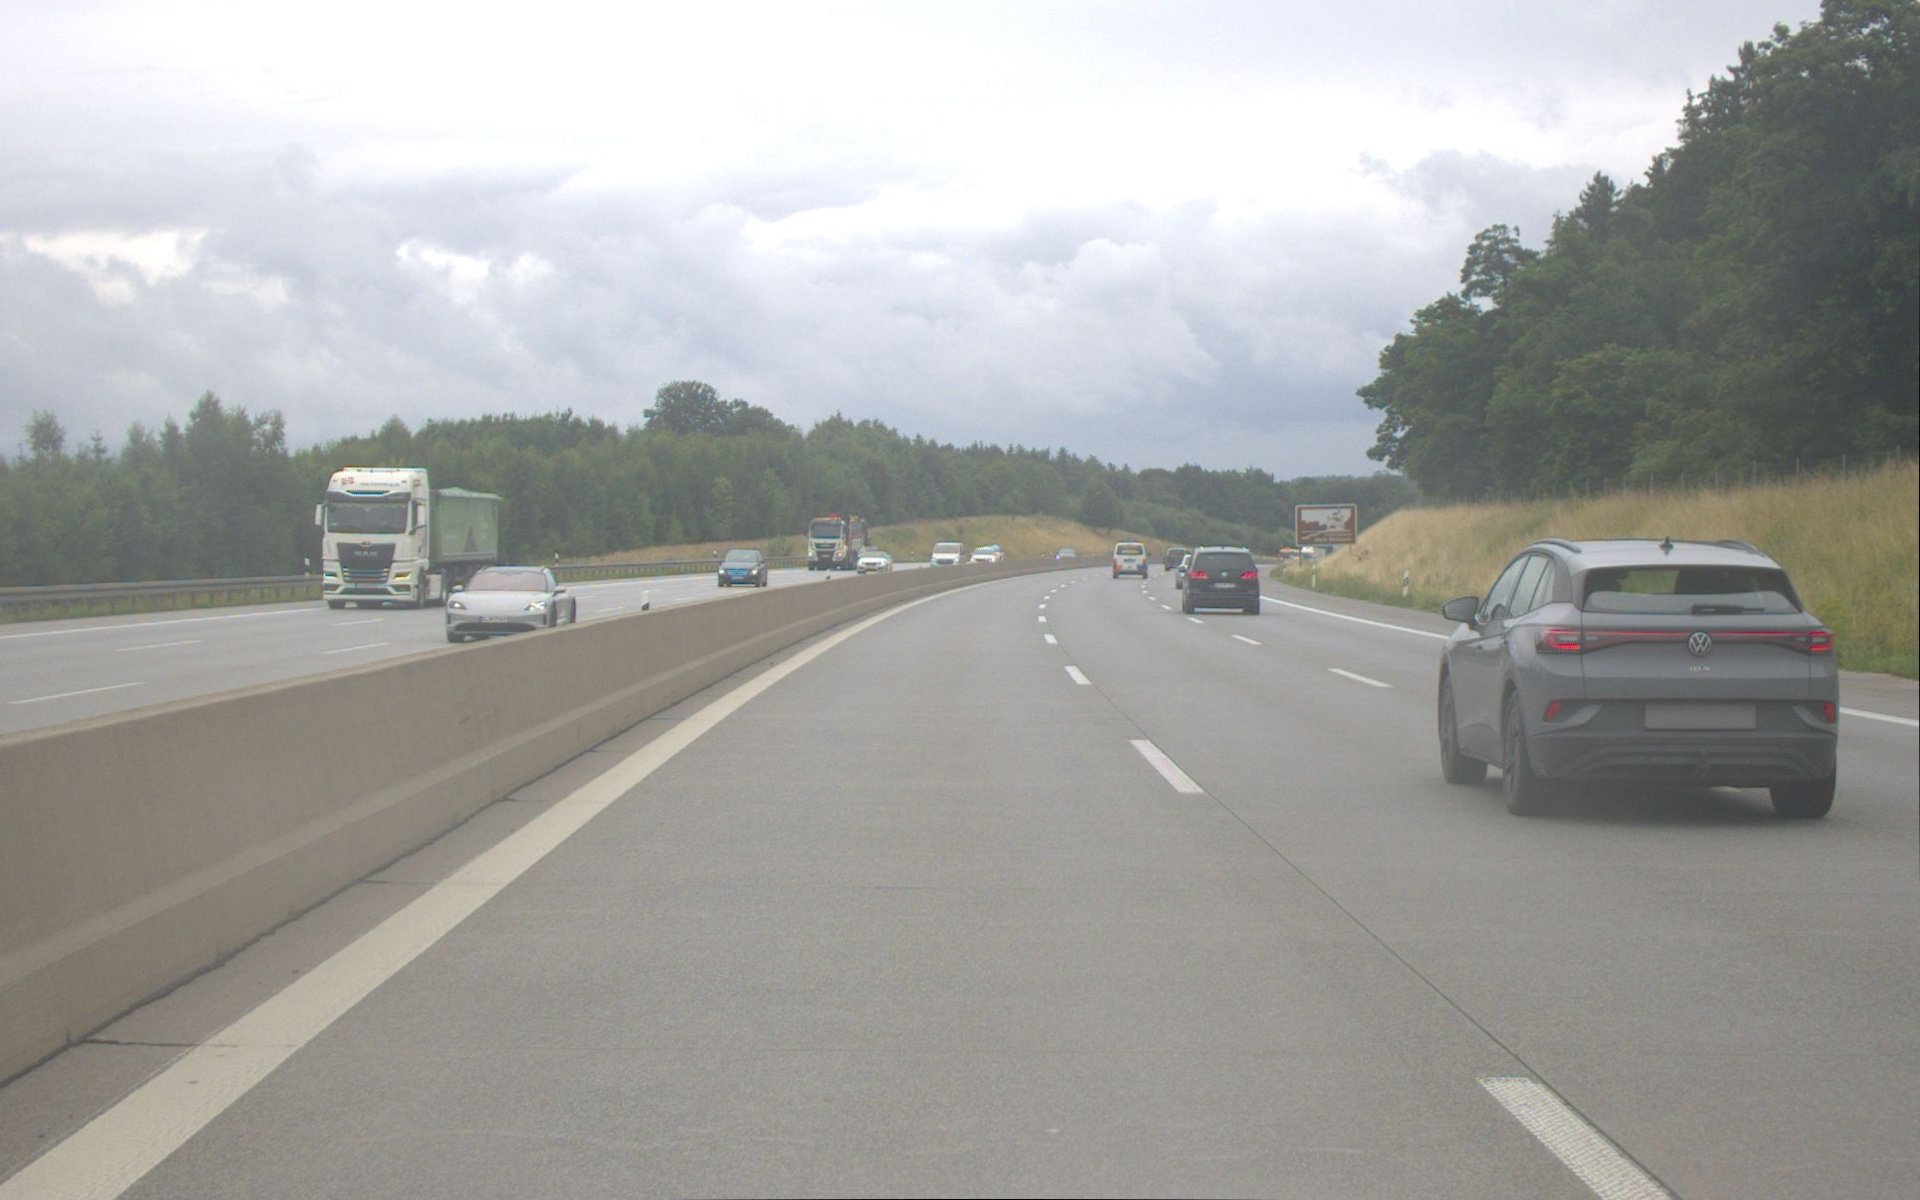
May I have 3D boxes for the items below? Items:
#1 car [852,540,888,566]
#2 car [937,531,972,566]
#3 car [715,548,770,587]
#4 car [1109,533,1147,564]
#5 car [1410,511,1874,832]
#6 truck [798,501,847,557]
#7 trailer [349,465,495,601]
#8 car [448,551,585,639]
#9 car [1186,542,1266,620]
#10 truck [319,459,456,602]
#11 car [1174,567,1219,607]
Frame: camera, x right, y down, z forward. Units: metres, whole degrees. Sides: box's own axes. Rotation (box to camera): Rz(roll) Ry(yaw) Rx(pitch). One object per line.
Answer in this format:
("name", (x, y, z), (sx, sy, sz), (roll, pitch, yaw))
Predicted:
("car", (-5.374, -2.800, 204.714), (1.737, 1.363, 4.097), (3, 3, 3))
("car", (-0.318, -3.211, 214.075), (1.993, 2.006, 5.525), (2, 2, 2))
("car", (-9.251, -1.390, 146.634), (1.993, 1.584, 4.771), (1, 1, 1))
("car", (9.178, -2.798, 187.701), (1.841, 1.495, 4.000), (-2, 2, 5))
("car", (4.060, 0.324, 21.366), (1.898, 1.684, 5.266), (1, 2, 1))
("truck", (-8.932, -4.645, 224.480), (2.586, 3.640, 7.660), (0, 1, 2))
("trailer", (-15.644, -1.969, 100.541), (2.749, 3.787, 9.316), (0, 1, 0))
("car", (-8.322, -0.122, 64.856), (1.993, 1.436, 4.768), (1, 2, -1))
("car", (6.684, -0.496, 86.795), (1.785, 1.741, 3.915), (-3, 2, 2))
("truck", (-15.685, -1.887, 94.544), (2.750, 3.789, 5.531), (0, 0, 1))
("car", (9.726, -0.552, 141.379), (1.801, 1.460, 3.810), (1, 2, 4))
